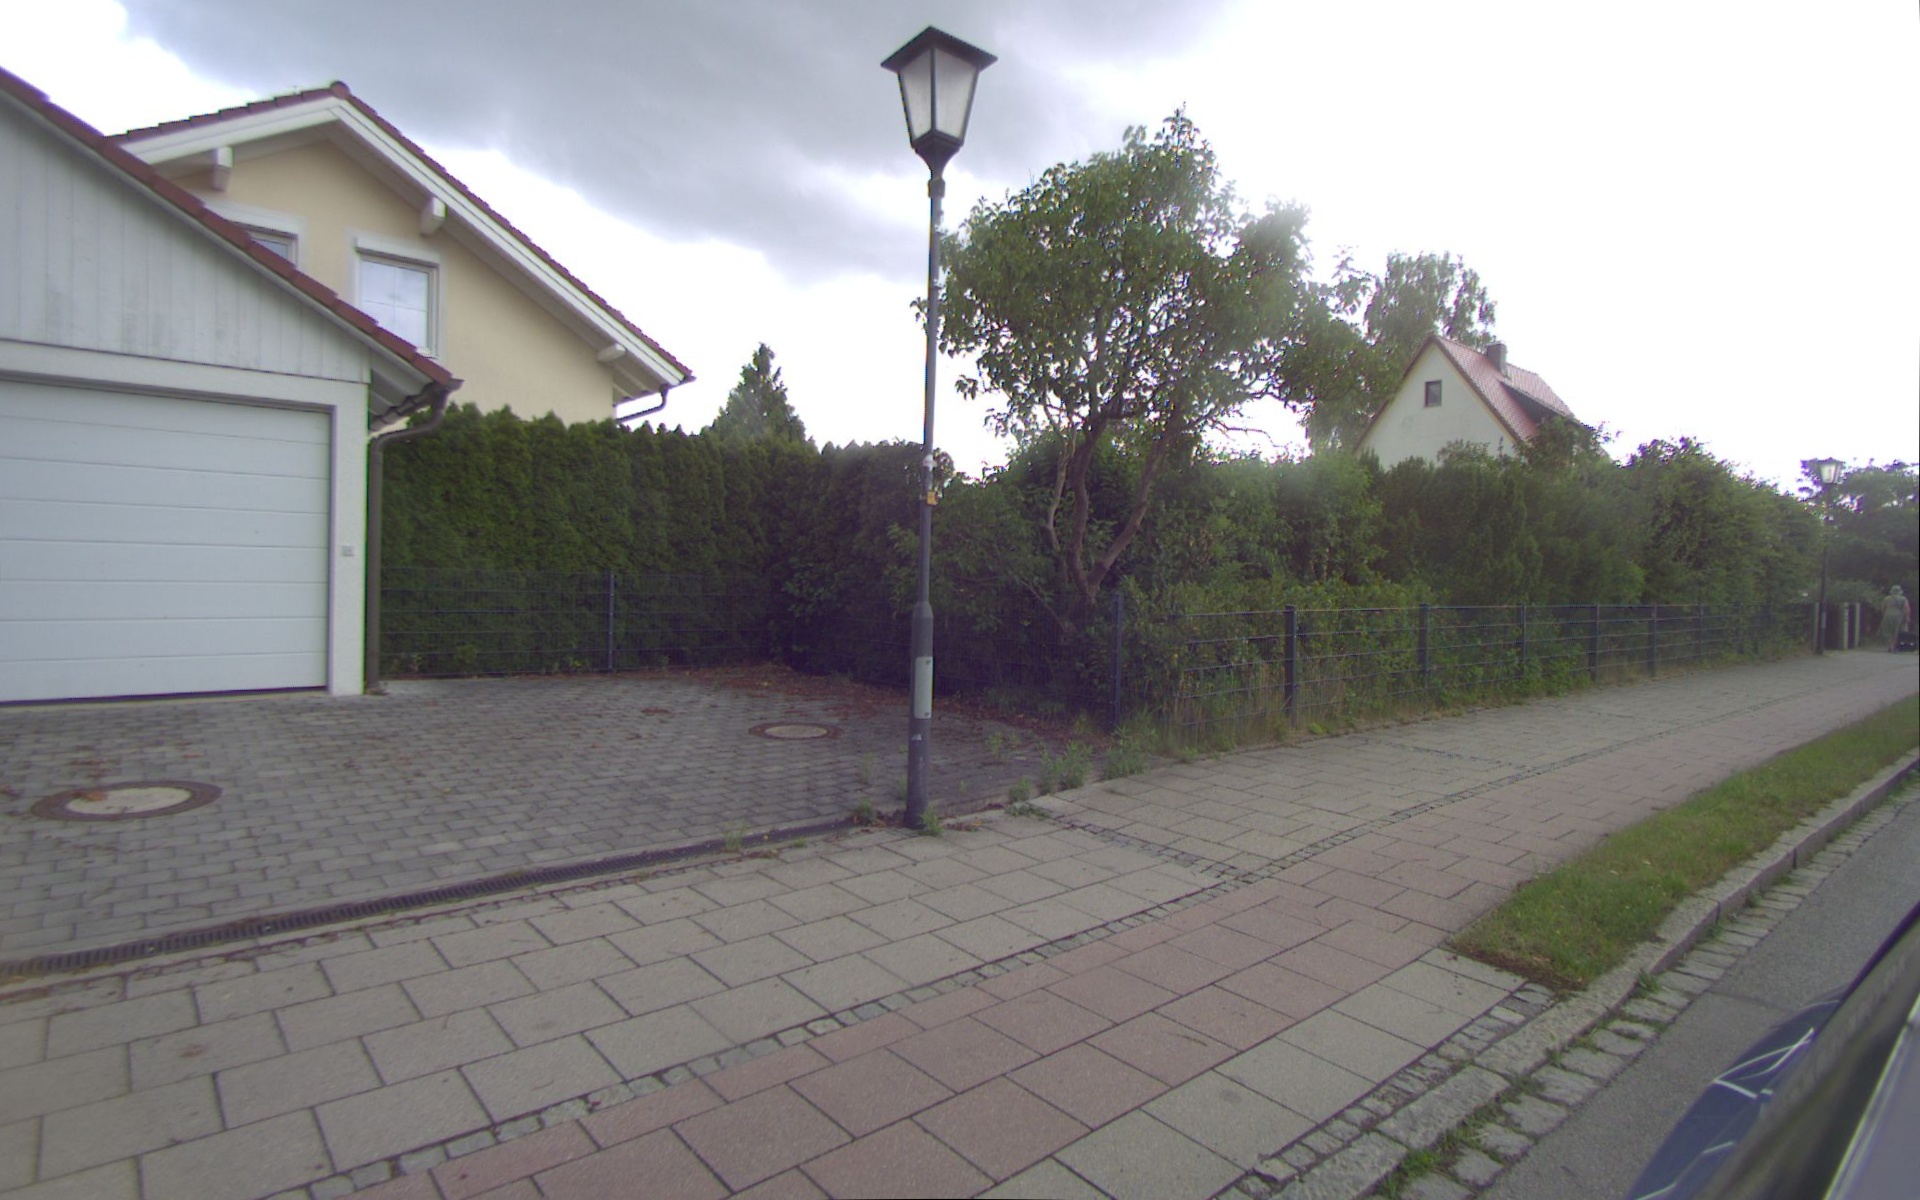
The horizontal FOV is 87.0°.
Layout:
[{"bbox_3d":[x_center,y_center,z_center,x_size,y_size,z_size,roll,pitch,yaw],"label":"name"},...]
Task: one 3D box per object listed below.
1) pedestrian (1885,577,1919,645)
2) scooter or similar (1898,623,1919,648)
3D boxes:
[{"bbox_3d":[23.047,0.260,24.570,0.789,1.622,0.662,2,1,38],"label":"pedestrian"},{"bbox_3d":[22.701,0.839,23.967,0.615,0.563,0.732,1,0,37],"label":"scooter or similar"}]
